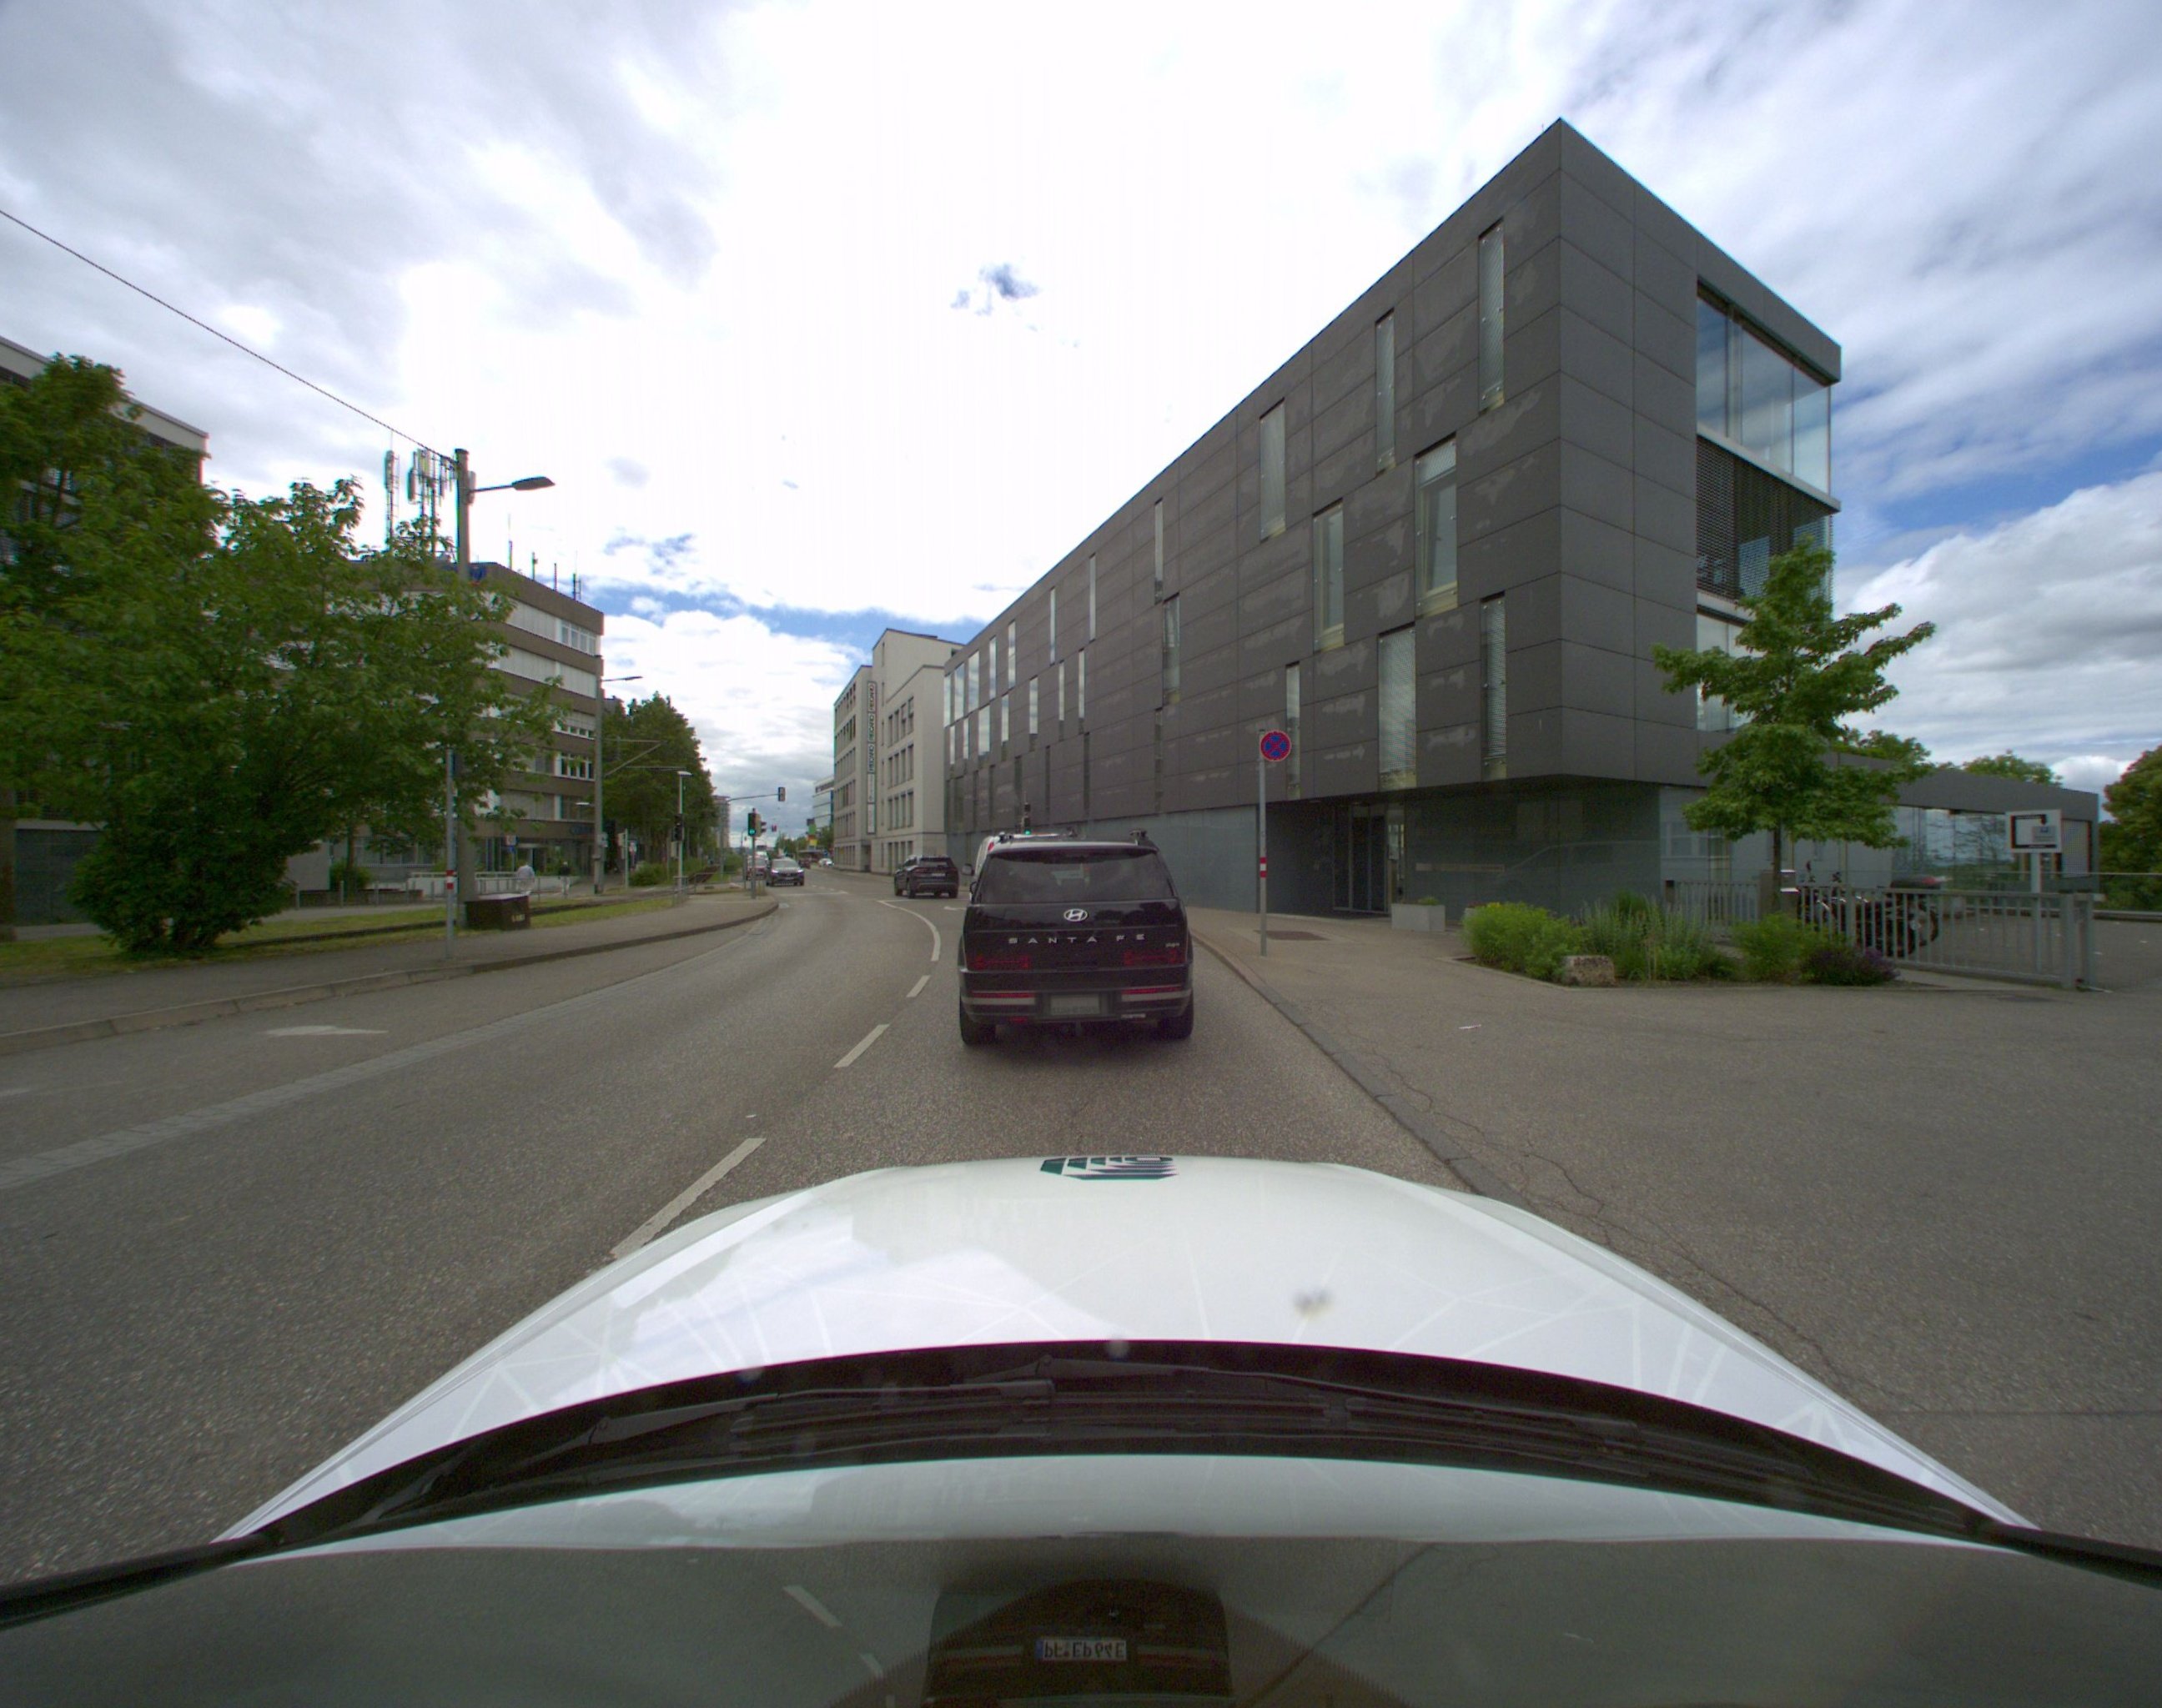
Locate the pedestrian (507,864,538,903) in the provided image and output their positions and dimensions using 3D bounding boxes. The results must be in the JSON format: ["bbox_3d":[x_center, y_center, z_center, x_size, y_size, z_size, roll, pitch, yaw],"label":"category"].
[{"bbox_3d":[-22.578,1.167,32.945,0.852,1.526,0.987,-2,0,-25],"label":"pedestrian"}]

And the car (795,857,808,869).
[{"bbox_3d":[-41.525,1.314,120.805,1.765,1.609,4.159,0,0,-20],"label":"car"}]

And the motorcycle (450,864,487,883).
[{"bbox_3d":[-40.420,1.309,53.755,1.876,1.199,0.567,-1,0,-6],"label":"motorcycle"}]

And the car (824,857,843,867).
[{"bbox_3d":[-41.144,1.339,135.418,2.008,1.502,3.958,0,0,-34],"label":"car"}]

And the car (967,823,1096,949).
[{"bbox_3d":[-1.092,0.504,15.279,1.932,1.994,4.519,0,0,-10],"label":"car"}]

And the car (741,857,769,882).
[{"bbox_3d":[-24.830,1.168,61.988,1.689,1.808,4.316,-2,0,-25],"label":"car"}]

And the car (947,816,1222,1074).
[{"bbox_3d":[-0.121,0.629,7.903,1.905,1.749,4.390,-1,0,-4],"label":"car"}]

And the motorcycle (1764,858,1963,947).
[{"bbox_3d":[13.345,0.770,14.028,0.669,1.393,2.449,0,0,-17],"label":"motorcycle"}]

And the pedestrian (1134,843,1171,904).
[{"bbox_3d":[2.020,0.548,23.094,0.714,1.694,0.859,1,-1,-23],"label":"pedestrian"}]

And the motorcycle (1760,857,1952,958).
[{"bbox_3d":[11.913,0.762,12.636,0.669,1.393,2.112,0,1,-17],"label":"motorcycle"}]

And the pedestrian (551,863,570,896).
[{"bbox_3d":[-27.292,1.343,42.704,0.690,1.705,0.678,-2,0,-22],"label":"pedestrian"}]

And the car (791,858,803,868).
[{"bbox_3d":[-47.962,1.486,137.530,1.765,1.609,4.159,0,0,-20],"label":"car"}]

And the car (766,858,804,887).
[{"bbox_3d":[-16.775,1.012,46.080,1.776,1.479,3.969,-2,0,-23],"label":"car"}]

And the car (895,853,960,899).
[{"bbox_3d":[-5.952,0.790,31.209,1.765,1.609,4.159,0,0,-20],"label":"car"}]
